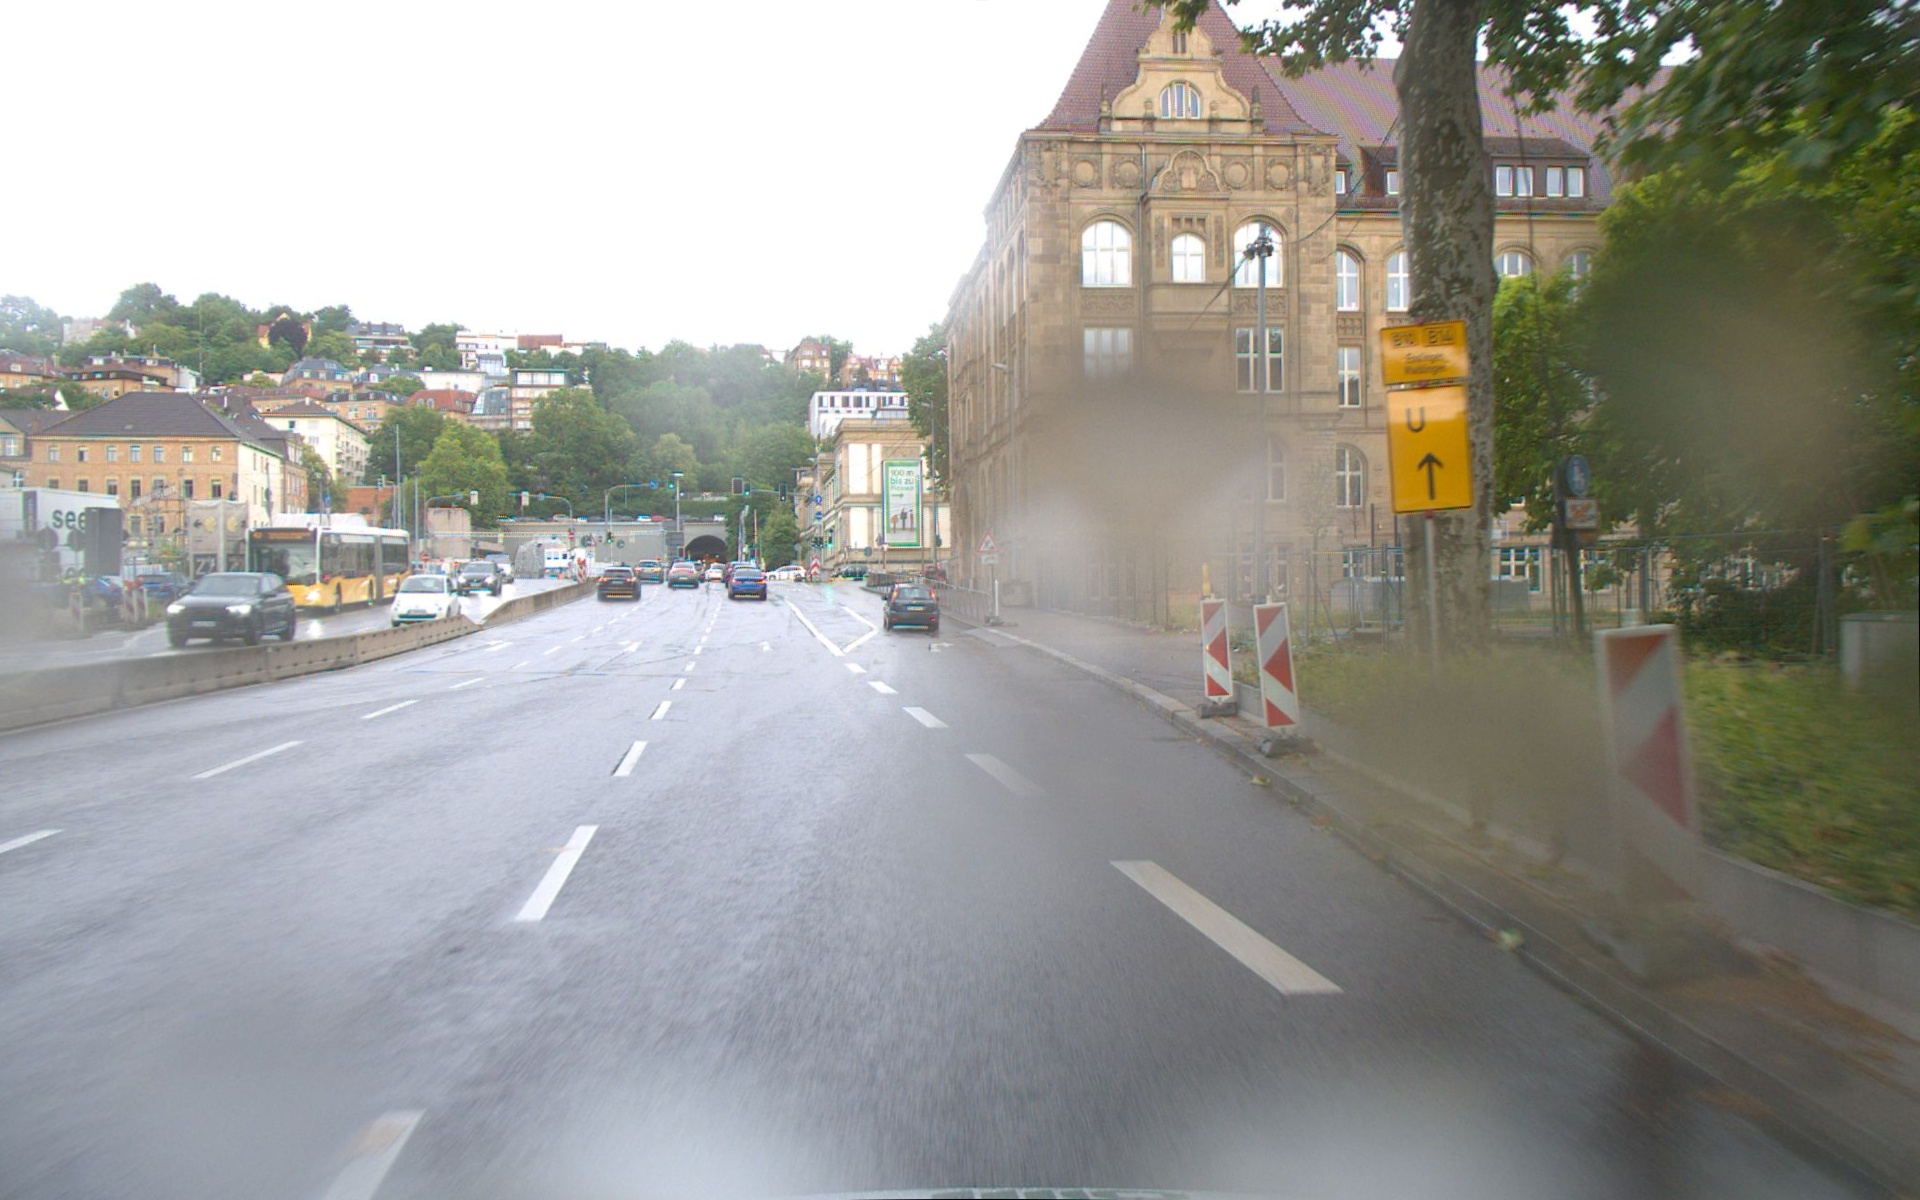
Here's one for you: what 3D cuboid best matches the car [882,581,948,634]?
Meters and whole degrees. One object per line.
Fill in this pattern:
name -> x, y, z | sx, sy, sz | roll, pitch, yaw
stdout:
car -> -1.452, 0.255, 52.116 | 1.777, 1.553, 3.995 | -2, 0, -6

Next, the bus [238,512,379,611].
bus -> -23.295, -1.293, 59.651 | 2.754, 3.240, 8.789 | -1, 0, -9

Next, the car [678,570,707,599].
car -> -19.016, -1.098, 117.584 | 1.957, 1.902, 3.990 | -1, -1, -10

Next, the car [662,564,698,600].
car -> -16.852, -1.056, 99.631 | 2.014, 2.049, 3.990 | -1, -1, -10

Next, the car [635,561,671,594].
car -> -20.047, -1.448, 108.192 | 1.955, 2.049, 3.994 | -1, -1, -6

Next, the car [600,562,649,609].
car -> -15.531, -0.649, 76.713 | 1.979, 2.049, 3.992 | -1, -1, -9

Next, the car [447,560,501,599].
car -> -23.525, -0.957, 80.203 | 2.002, 1.691, 4.920 | -1, -1, -10

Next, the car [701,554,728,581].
car -> -19.876, -2.644, 133.772 | 1.959, 2.049, 3.988 | -2, 0, -12

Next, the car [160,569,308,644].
car -> -17.424, 0.121, 39.962 | 2.043, 1.659, 4.843 | -1, 1, -9

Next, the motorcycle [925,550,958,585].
motorcycle -> -1.142, -2.023, 101.750 | 1.760, 2.048, 3.809 | -1, 2, -5

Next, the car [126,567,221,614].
car -> -30.014, -0.393, 63.231 | 1.955, 1.650, 3.997 | -1, 2, -5

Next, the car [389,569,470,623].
car -> -15.827, -0.093, 49.462 | 1.677, 1.515, 3.444 | -1, -1, -7

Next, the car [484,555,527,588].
car -> -27.514, -1.718, 100.326 | 1.957, 1.786, 5.286 | -1, -1, -10

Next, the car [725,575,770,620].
car -> -10.457, -0.107, 81.230 | 2.066, 2.086, 3.992 | -1, -1, -9

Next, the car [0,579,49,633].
car -> -29.482, 0.184, 49.539 | 1.725, 1.593, 4.683 | -2, -1, 1

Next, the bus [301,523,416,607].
bus -> -24.743, -1.353, 68.476 | 2.653, 3.206, 9.132 | -1, 0, -9

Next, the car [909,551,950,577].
car -> -2.384, -2.831, 130.861 | 1.952, 2.049, 4.001 | 0, 0, 19
